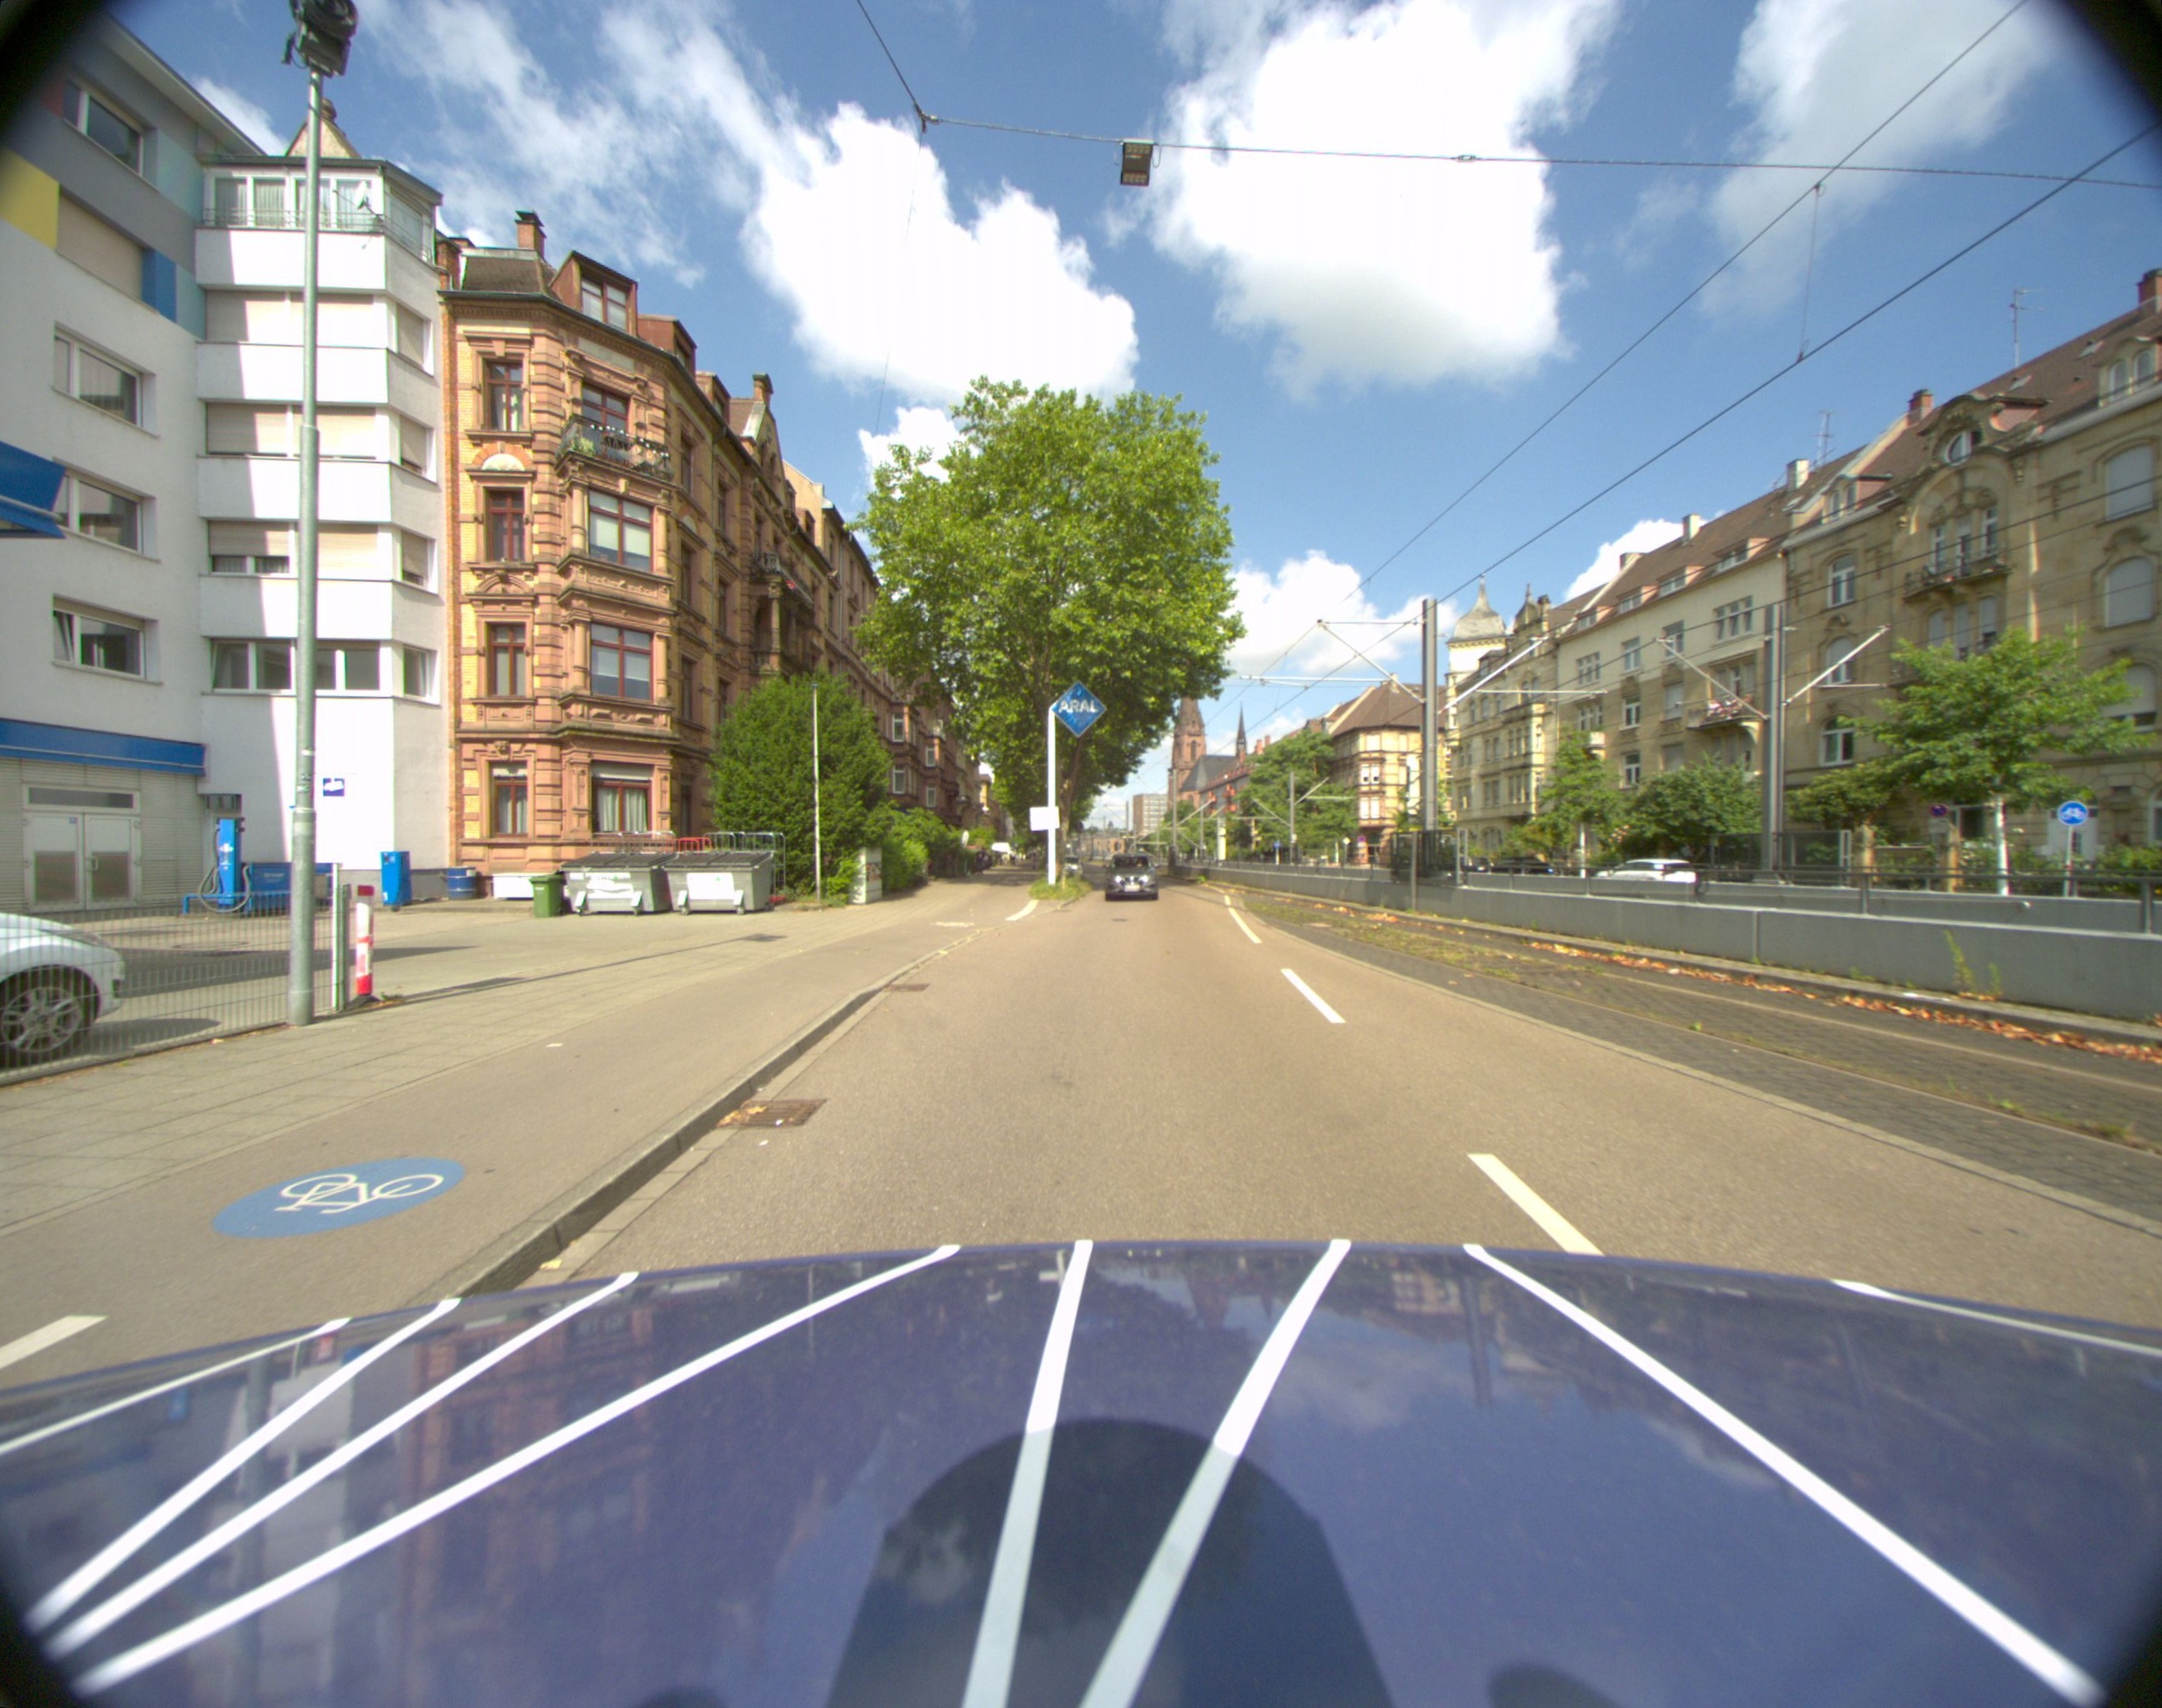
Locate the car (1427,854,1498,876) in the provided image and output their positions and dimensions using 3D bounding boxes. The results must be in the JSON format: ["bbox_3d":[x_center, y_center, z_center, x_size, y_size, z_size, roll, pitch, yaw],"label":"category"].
[{"bbox_3d":[23.714,0.661,47.397,1.954,1.319,4.724,0,0,-2],"label":"car"}]

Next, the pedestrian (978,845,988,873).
[{"bbox_3d":[-6.250,0.326,48.547,0.565,1.776,0.630,0,1,-2],"label":"pedestrian"}]

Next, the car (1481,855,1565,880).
[{"bbox_3d":[24.155,0.709,41.746,2.025,1.319,4.099,0,0,-4],"label":"car"}]

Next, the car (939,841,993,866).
[{"bbox_3d":[-10.100,-0.040,66.809,4.409,1.927,1.983,3,0,-2],"label":"car"}]

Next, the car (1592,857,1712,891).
[{"bbox_3d":[24.535,0.817,32.866,1.756,1.320,4.311,0,0,-4],"label":"car"}]

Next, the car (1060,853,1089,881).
[{"bbox_3d":[-0.404,0.720,44.000,1.558,1.477,3.857,1,0,-2],"label":"car"}]

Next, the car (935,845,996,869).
[{"bbox_3d":[-9.291,0.247,61.096,4.737,1.772,2.003,1,1,-10],"label":"car"}]

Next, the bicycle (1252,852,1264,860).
[{"bbox_3d":[20.699,0.220,88.754,0.778,0.973,2.140,2,0,-2],"label":"bicycle"}]

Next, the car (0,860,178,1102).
[{"bbox_3d":[-7.392,0.788,3.477,1.811,1.447,4.000,-1,0,-3],"label":"car"}]

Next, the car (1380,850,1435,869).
[{"bbox_3d":[28.865,0.466,67.246,3.963,1.597,2.034,0,1,-11],"label":"car"}]

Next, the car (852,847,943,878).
[{"bbox_3d":[-9.494,0.423,39.500,4.246,1.461,1.941,1,1,-2],"label":"car"}]

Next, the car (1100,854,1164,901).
[{"bbox_3d":[1.691,0.746,26.510,1.800,1.454,4.566,0,1,-1],"label":"car"}]

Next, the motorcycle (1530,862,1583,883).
[{"bbox_3d":[24.282,0.934,38.806,1.765,0.936,1.417,2,0,-4],"label":"motorcycle"}]

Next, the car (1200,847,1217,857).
[{"bbox_3d":[20.590,-0.331,122.834,1.999,1.628,4.112,0,0,-3],"label":"car"}]

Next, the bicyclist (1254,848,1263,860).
[{"bbox_3d":[20.712,0.033,88.695,0.770,1.330,1.048,2,1,-2],"label":"bicyclist"}]
